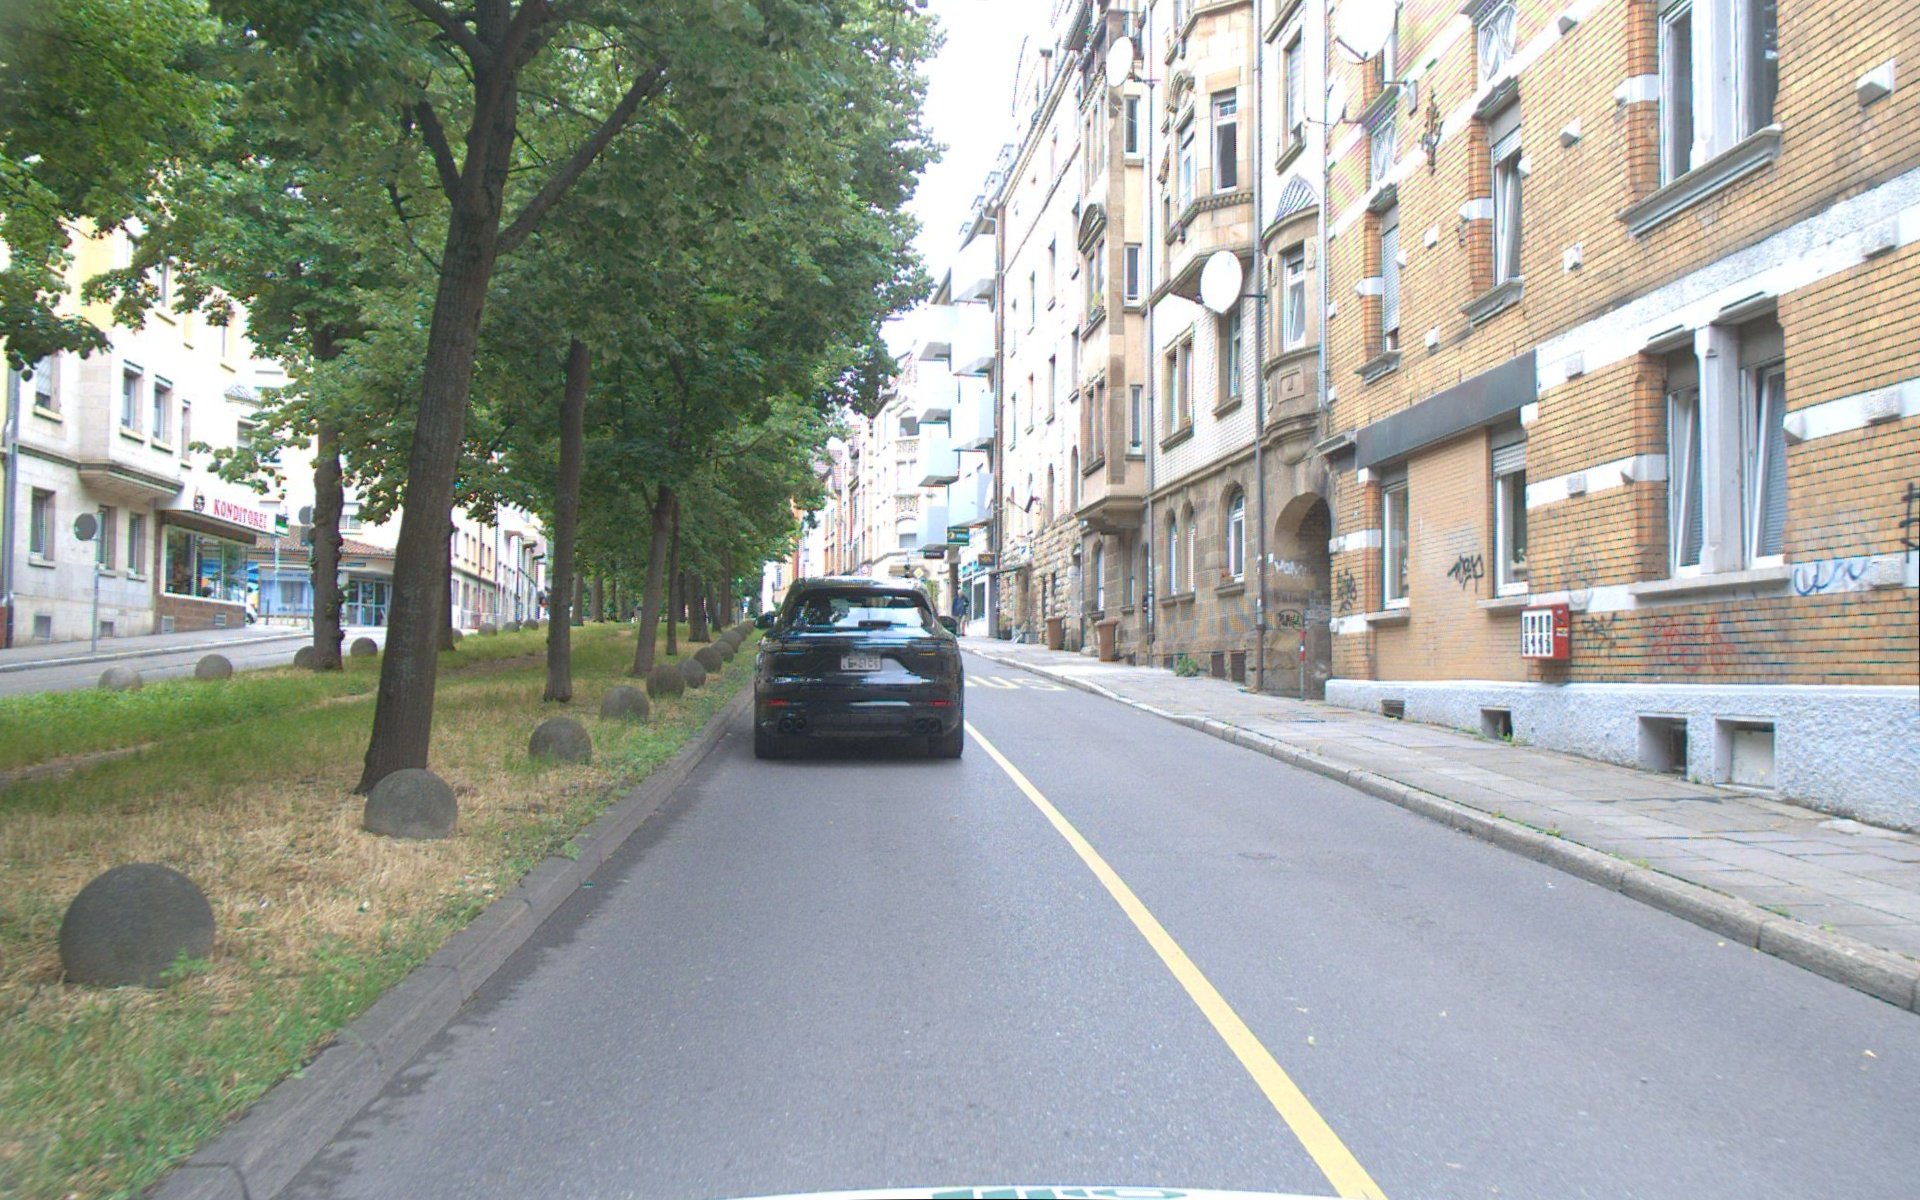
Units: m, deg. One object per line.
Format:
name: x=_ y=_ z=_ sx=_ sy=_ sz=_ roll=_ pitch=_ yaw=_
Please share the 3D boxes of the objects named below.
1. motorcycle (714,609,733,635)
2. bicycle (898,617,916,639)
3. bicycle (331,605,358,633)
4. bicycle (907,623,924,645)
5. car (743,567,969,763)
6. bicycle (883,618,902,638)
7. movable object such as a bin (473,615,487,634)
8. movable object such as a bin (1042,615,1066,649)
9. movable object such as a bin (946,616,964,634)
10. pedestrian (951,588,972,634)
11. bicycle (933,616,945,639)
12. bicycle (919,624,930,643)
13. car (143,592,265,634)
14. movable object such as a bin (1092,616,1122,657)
motorcycle: x=-13.898 y=1.295 z=97.241 sx=1.000 sy=1.472 sz=2.243 roll=-1 pitch=-2 yaw=-7
bicycle: x=-2.394 y=1.282 z=75.177 sx=0.282 sy=0.948 sz=1.750 roll=2 pitch=-2 yaw=-20
bicycle: x=-25.473 y=0.802 z=68.432 sx=0.753 sy=1.104 sz=2.017 roll=3 pitch=-3 yaw=-28
bicycle: x=-1.968 y=1.495 z=72.392 sx=0.558 sy=0.948 sz=1.772 roll=1 pitch=-2 yaw=-7
car: x=-0.970 y=0.573 z=16.366 sx=1.953 sy=1.695 sz=3.998 roll=0 pitch=0 yaw=-2
bicycle: x=-3.989 y=1.671 z=97.676 sx=0.862 sy=1.149 sz=2.974 roll=1 pitch=-2 yaw=-8
movable object such as a bin: x=-28.095 y=1.440 z=96.809 sx=0.679 sy=1.078 sz=0.688 roll=2 pitch=-3 yaw=-12
movable object such as a bin: x=2.649 y=0.905 z=46.661 sx=0.583 sy=0.920 sz=0.502 roll=1 pitch=-4 yaw=-5
movable object such as a bin: x=-0.201 y=0.969 z=64.217 sx=0.596 sy=0.680 sz=0.857 roll=0 pitch=-2 yaw=-6
pedestrian: x=0.063 y=0.423 z=63.397 sx=0.737 sy=1.723 sz=0.857 roll=0 pitch=-2 yaw=-6
bicycle: x=-1.197 y=1.607 z=95.913 sx=0.438 sy=1.182 sz=1.831 roll=0 pitch=4 yaw=-9
bicycle: x=-2.048 y=1.920 z=96.131 sx=0.342 sy=1.077 sz=1.830 roll=4 pitch=-1 yaw=-9
car: x=-29.659 y=0.505 z=64.910 sx=4.004 sy=1.505 sz=1.795 roll=-2 pitch=0 yaw=-40
movable object such as a bin: x=3.399 y=0.842 z=38.222 sx=0.583 sy=0.920 sz=0.562 roll=1 pitch=-1 yaw=-5
